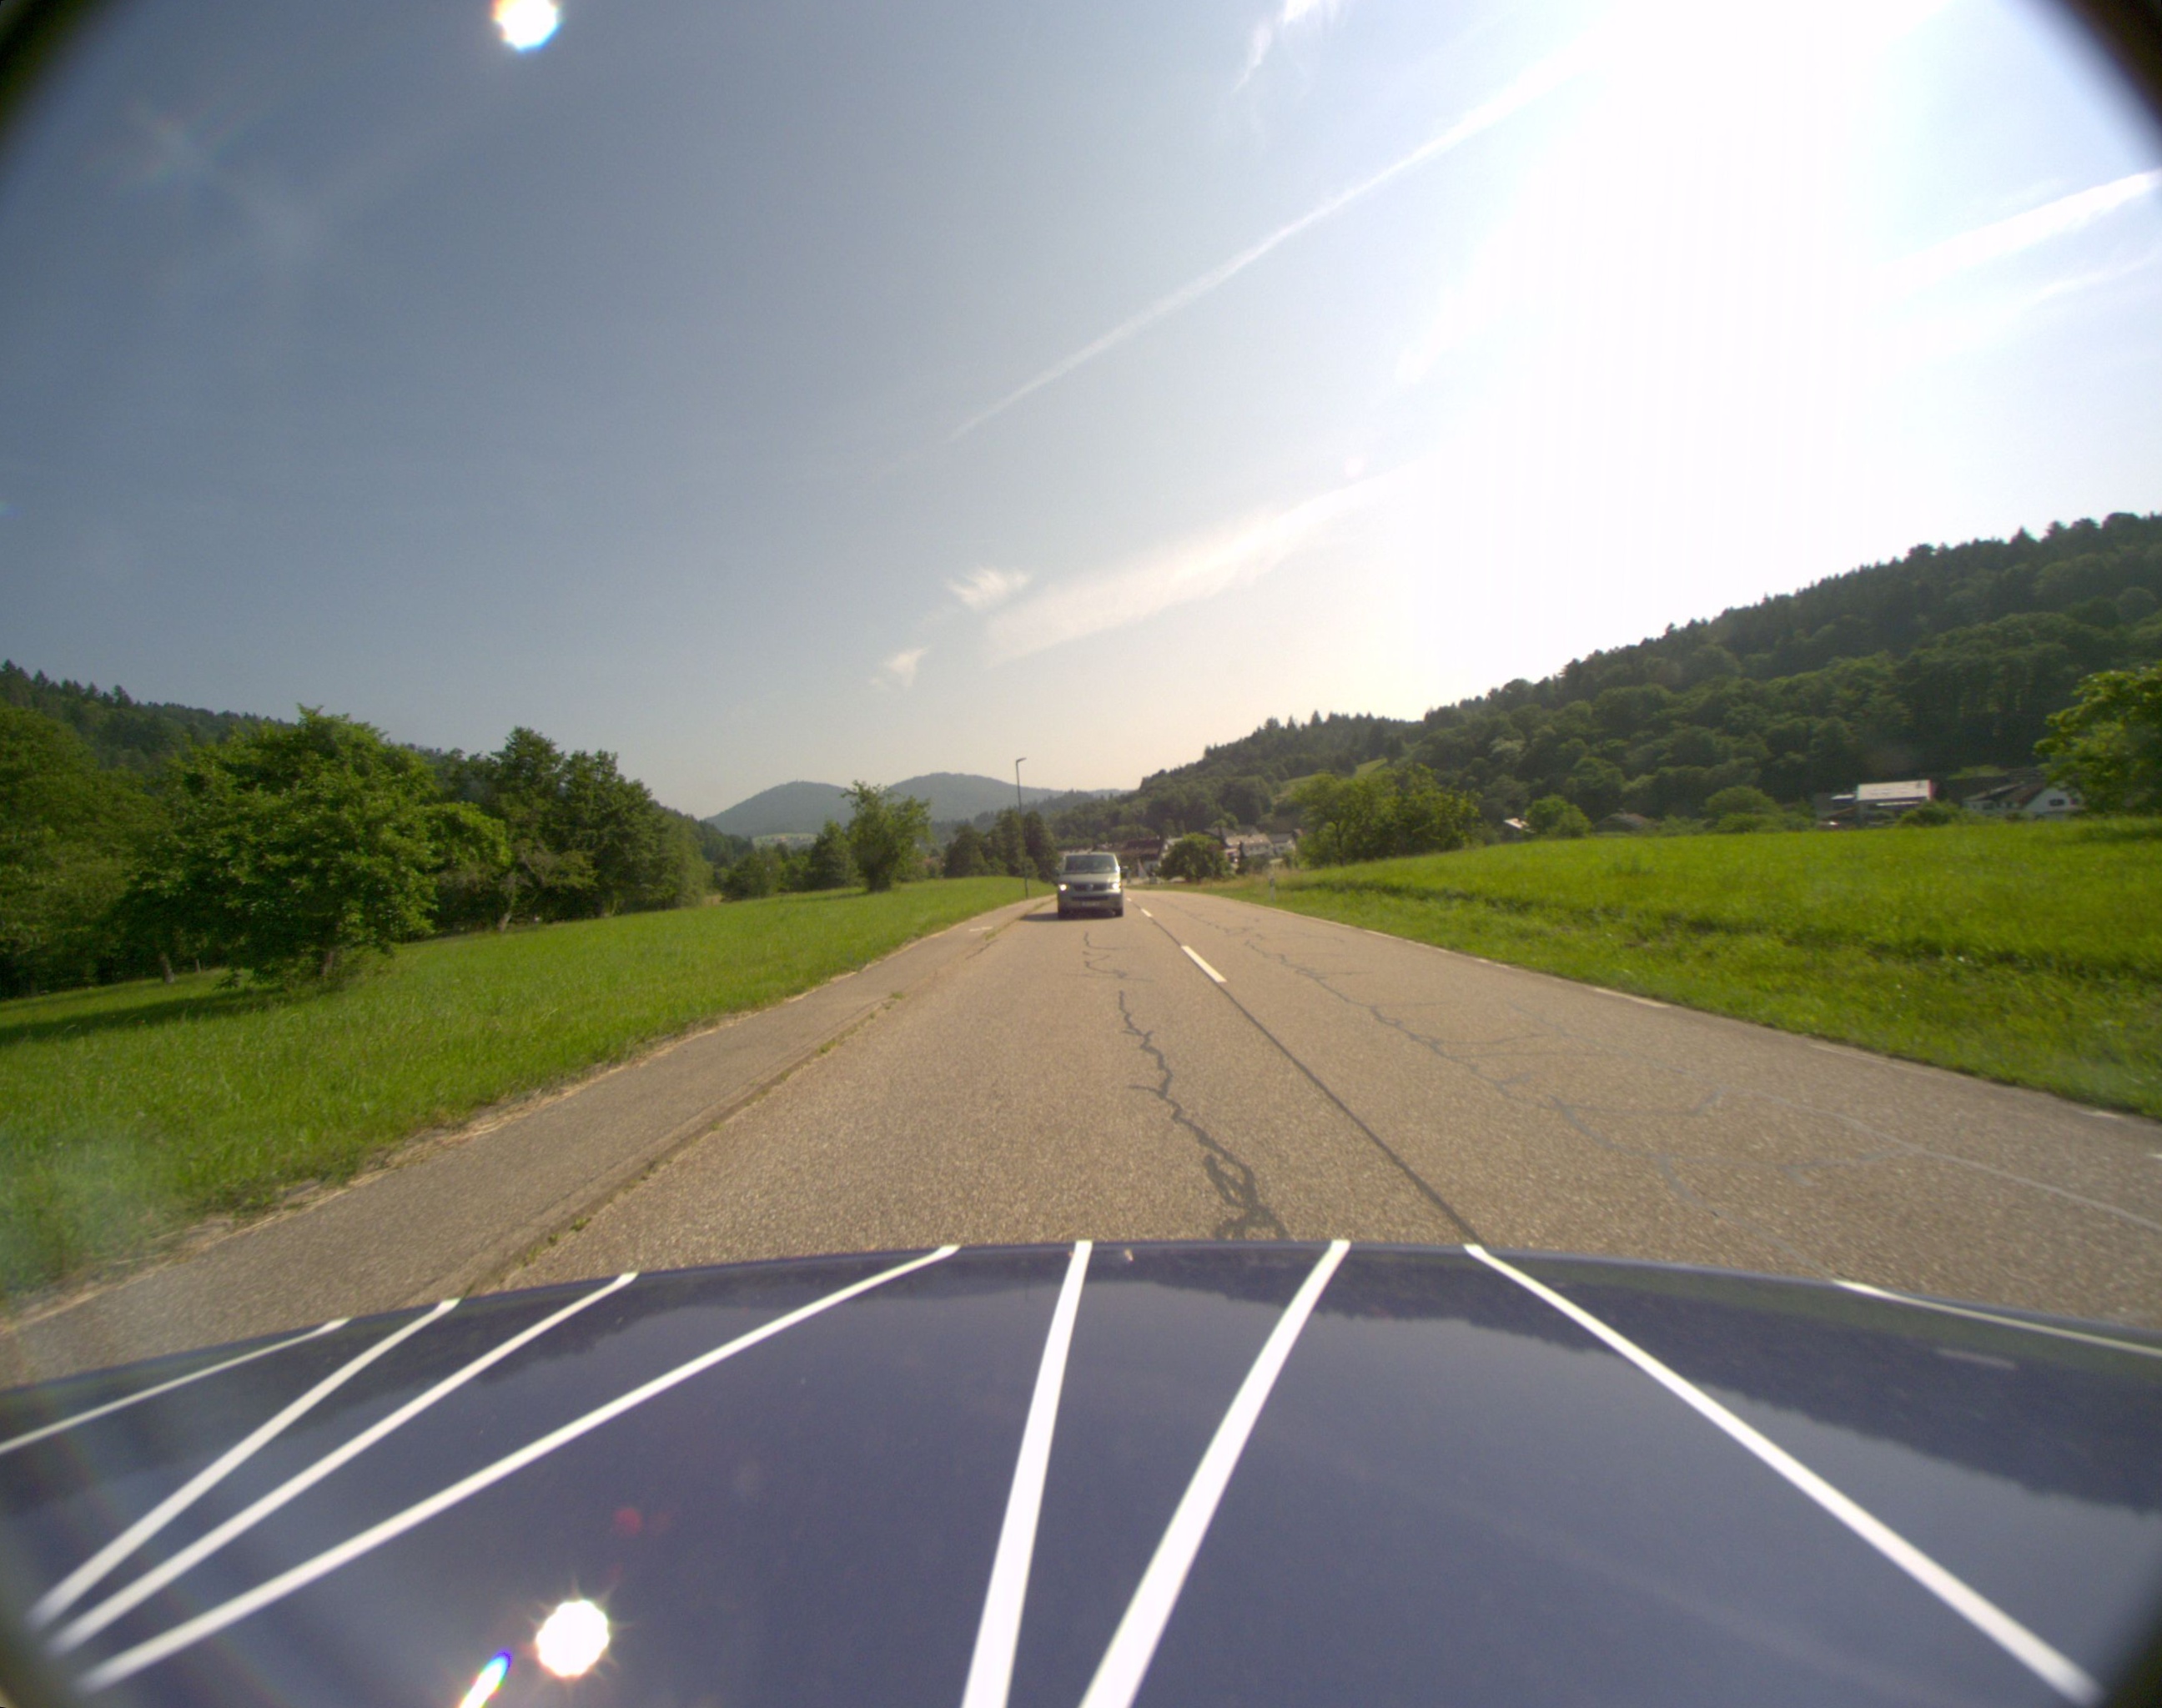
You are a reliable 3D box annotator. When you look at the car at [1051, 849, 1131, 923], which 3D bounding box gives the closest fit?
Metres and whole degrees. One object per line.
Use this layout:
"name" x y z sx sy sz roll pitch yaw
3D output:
"car" 0.441 0.916 23.355 2.023 1.970 5.051 -2 -1 5
